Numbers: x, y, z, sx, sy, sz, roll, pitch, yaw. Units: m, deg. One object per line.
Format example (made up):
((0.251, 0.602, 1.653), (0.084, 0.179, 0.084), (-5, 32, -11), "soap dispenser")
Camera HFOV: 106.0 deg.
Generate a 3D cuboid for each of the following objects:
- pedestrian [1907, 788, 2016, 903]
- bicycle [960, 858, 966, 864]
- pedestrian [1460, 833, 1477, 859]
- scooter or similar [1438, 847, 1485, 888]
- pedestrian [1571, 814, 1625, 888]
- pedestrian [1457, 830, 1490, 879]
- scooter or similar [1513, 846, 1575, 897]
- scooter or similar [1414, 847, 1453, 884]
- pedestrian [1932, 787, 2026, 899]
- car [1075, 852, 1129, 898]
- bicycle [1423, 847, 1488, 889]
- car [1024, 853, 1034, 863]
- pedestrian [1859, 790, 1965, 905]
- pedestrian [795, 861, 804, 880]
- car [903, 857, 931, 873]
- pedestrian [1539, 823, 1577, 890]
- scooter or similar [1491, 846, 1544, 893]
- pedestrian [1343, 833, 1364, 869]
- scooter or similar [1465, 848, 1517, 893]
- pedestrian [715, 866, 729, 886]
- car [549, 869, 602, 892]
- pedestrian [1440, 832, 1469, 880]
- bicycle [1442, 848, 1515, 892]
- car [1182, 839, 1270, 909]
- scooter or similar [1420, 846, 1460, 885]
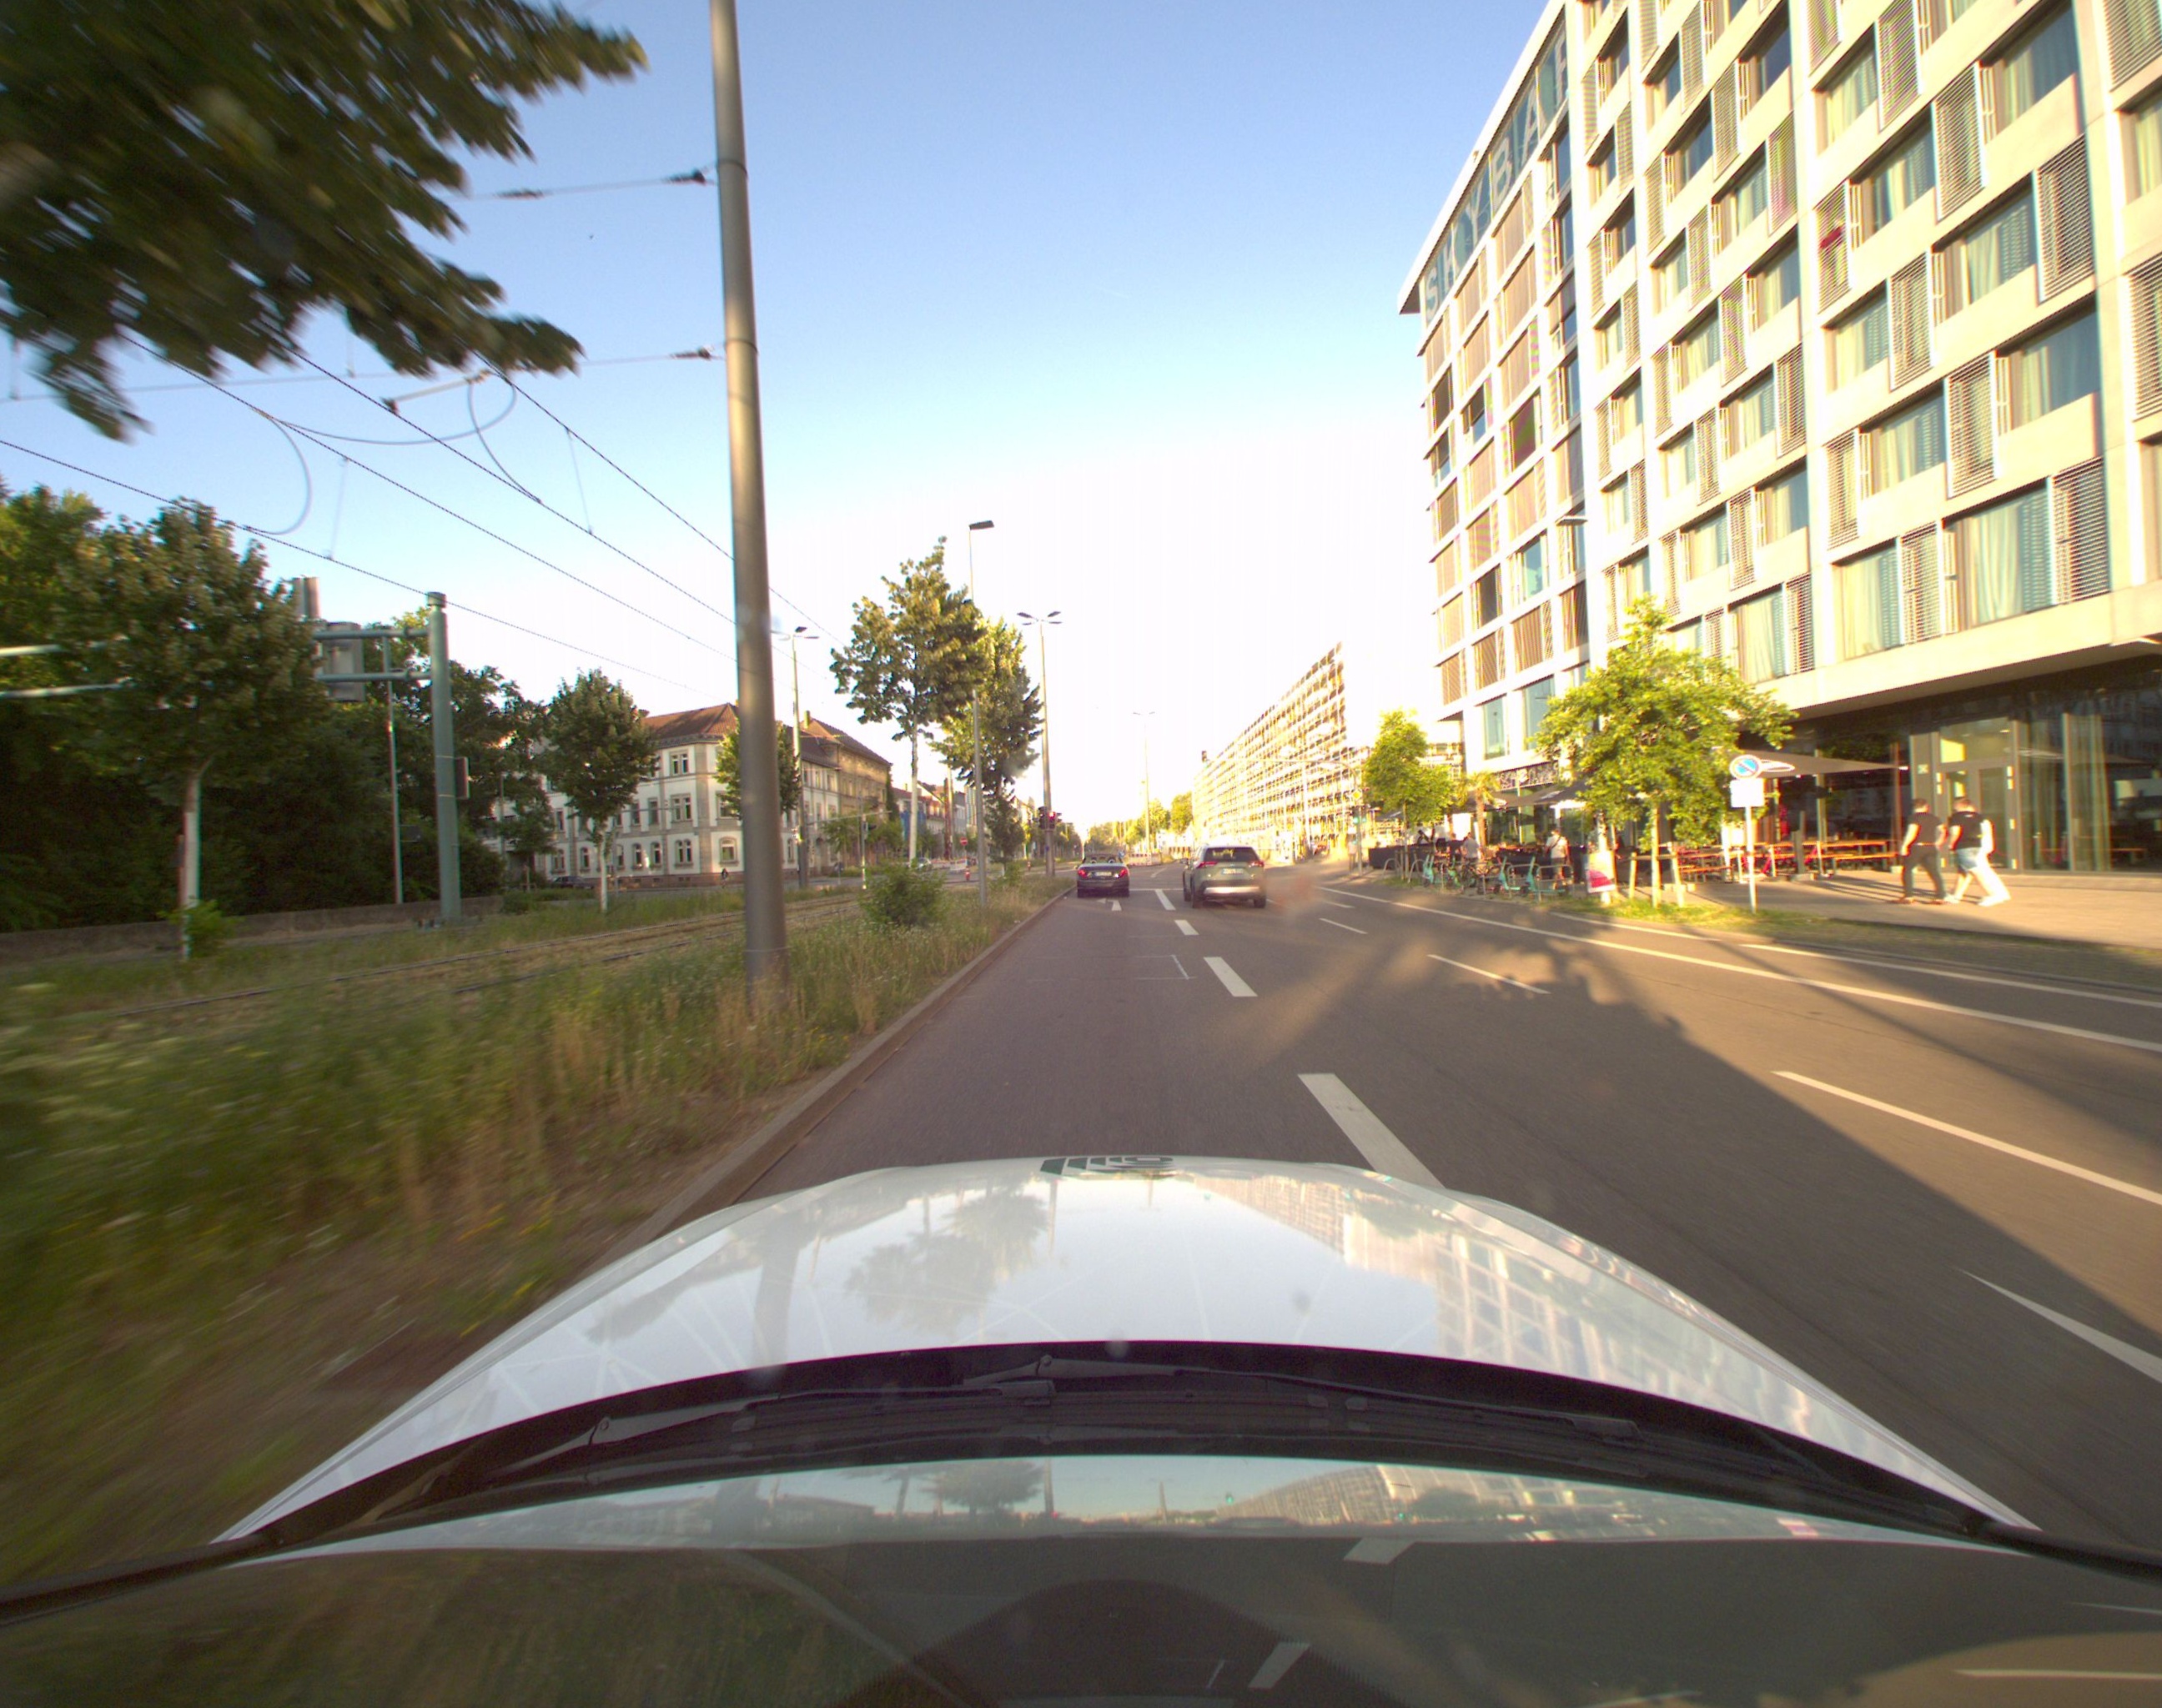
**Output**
((14.825, -0.134, 13.748), (0.751, 1.824, 0.943), (-4, 0, 11), "pedestrian")
((-18.434, 1.127, 127.369), (0.593, 0.989, 1.543), (-1, 0, -25), "bicycle")
((20.432, -0.413, 42.938), (0.607, 1.319, 0.624), (-5, 0, 20), "pedestrian")
((12.104, 0.422, 25.927), (1.206, 1.201, 0.479), (-5, 0, -3), "scooter or similar")
((13.934, -0.077, 21.980), (0.819, 1.888, 0.868), (-4, -1, 10), "pedestrian")
((14.286, 0.015, 29.657), (0.682, 1.734, 0.761), (-5, 0, 1), "pedestrian")
((11.993, 0.452, 21.122), (1.280, 1.218, 0.539), (-5, -1, 25), "scooter or similar")
((12.439, 0.397, 28.755), (1.049, 1.223, 0.598), (-4, 0, -2), "scooter or similar")
((15.384, -0.184, 13.972), (0.615, 1.811, 0.779), (-6, -1, 11), "pedestrian")
((0.732, 0.654, 27.322), (1.668, 1.352, 4.002), (-1, 1, 2), "car")
((12.165, 0.446, 26.457), (1.789, 1.193, 0.567), (-5, 0, -3), "bicycle")
((-11.131, 0.831, 175.136), (1.650, 1.964, 4.271), (0, 1, 4), "car")
((14.179, -0.112, 13.926), (0.739, 1.849, 0.943), (-5, -1, 11), "pedestrian")
((-25.875, 1.509, 74.910), (0.702, 1.715, 0.809), (-1, 0, -12), "pedestrian")
((-18.552, 1.276, 92.180), (1.985, 1.580, 4.127), (-4, 0, 3), "car")
((13.131, 0.074, 22.440), (0.572, 1.786, 0.832), (-4, -1, 15), "pedestrian")
((12.143, 0.435, 22.678), (1.119, 1.213, 0.534), (-5, -2, 17), "scooter or similar")
((14.388, -0.161, 43.035), (0.765, 1.847, 0.679), (-3, 0, 2), "pedestrian")
((11.795, 0.466, 23.472), (1.151, 1.191, 0.510), (-4, -2, 3), "scooter or similar")
((-26.482, 1.620, 60.108), (0.601, 1.458, 0.937), (0, 0, 4), "pedestrian")
((-38.495, 1.989, 61.976), (3.948, 1.555, 1.801), (0, 1, 32), "car")
((13.599, 0.073, 29.653), (0.651, 1.702, 0.689), (-4, 0, 1), "pedestrian")
((12.031, 0.481, 24.686), (1.840, 1.181, 0.608), (-5, 0, 1), "bicycle")
((3.779, 0.466, 21.908), (1.826, 1.672, 4.287), (-1, 1, 4), "car")
((12.148, 0.395, 27.580), (1.054, 1.223, 0.551), (-5, 0, 11), "scooter or similar")
